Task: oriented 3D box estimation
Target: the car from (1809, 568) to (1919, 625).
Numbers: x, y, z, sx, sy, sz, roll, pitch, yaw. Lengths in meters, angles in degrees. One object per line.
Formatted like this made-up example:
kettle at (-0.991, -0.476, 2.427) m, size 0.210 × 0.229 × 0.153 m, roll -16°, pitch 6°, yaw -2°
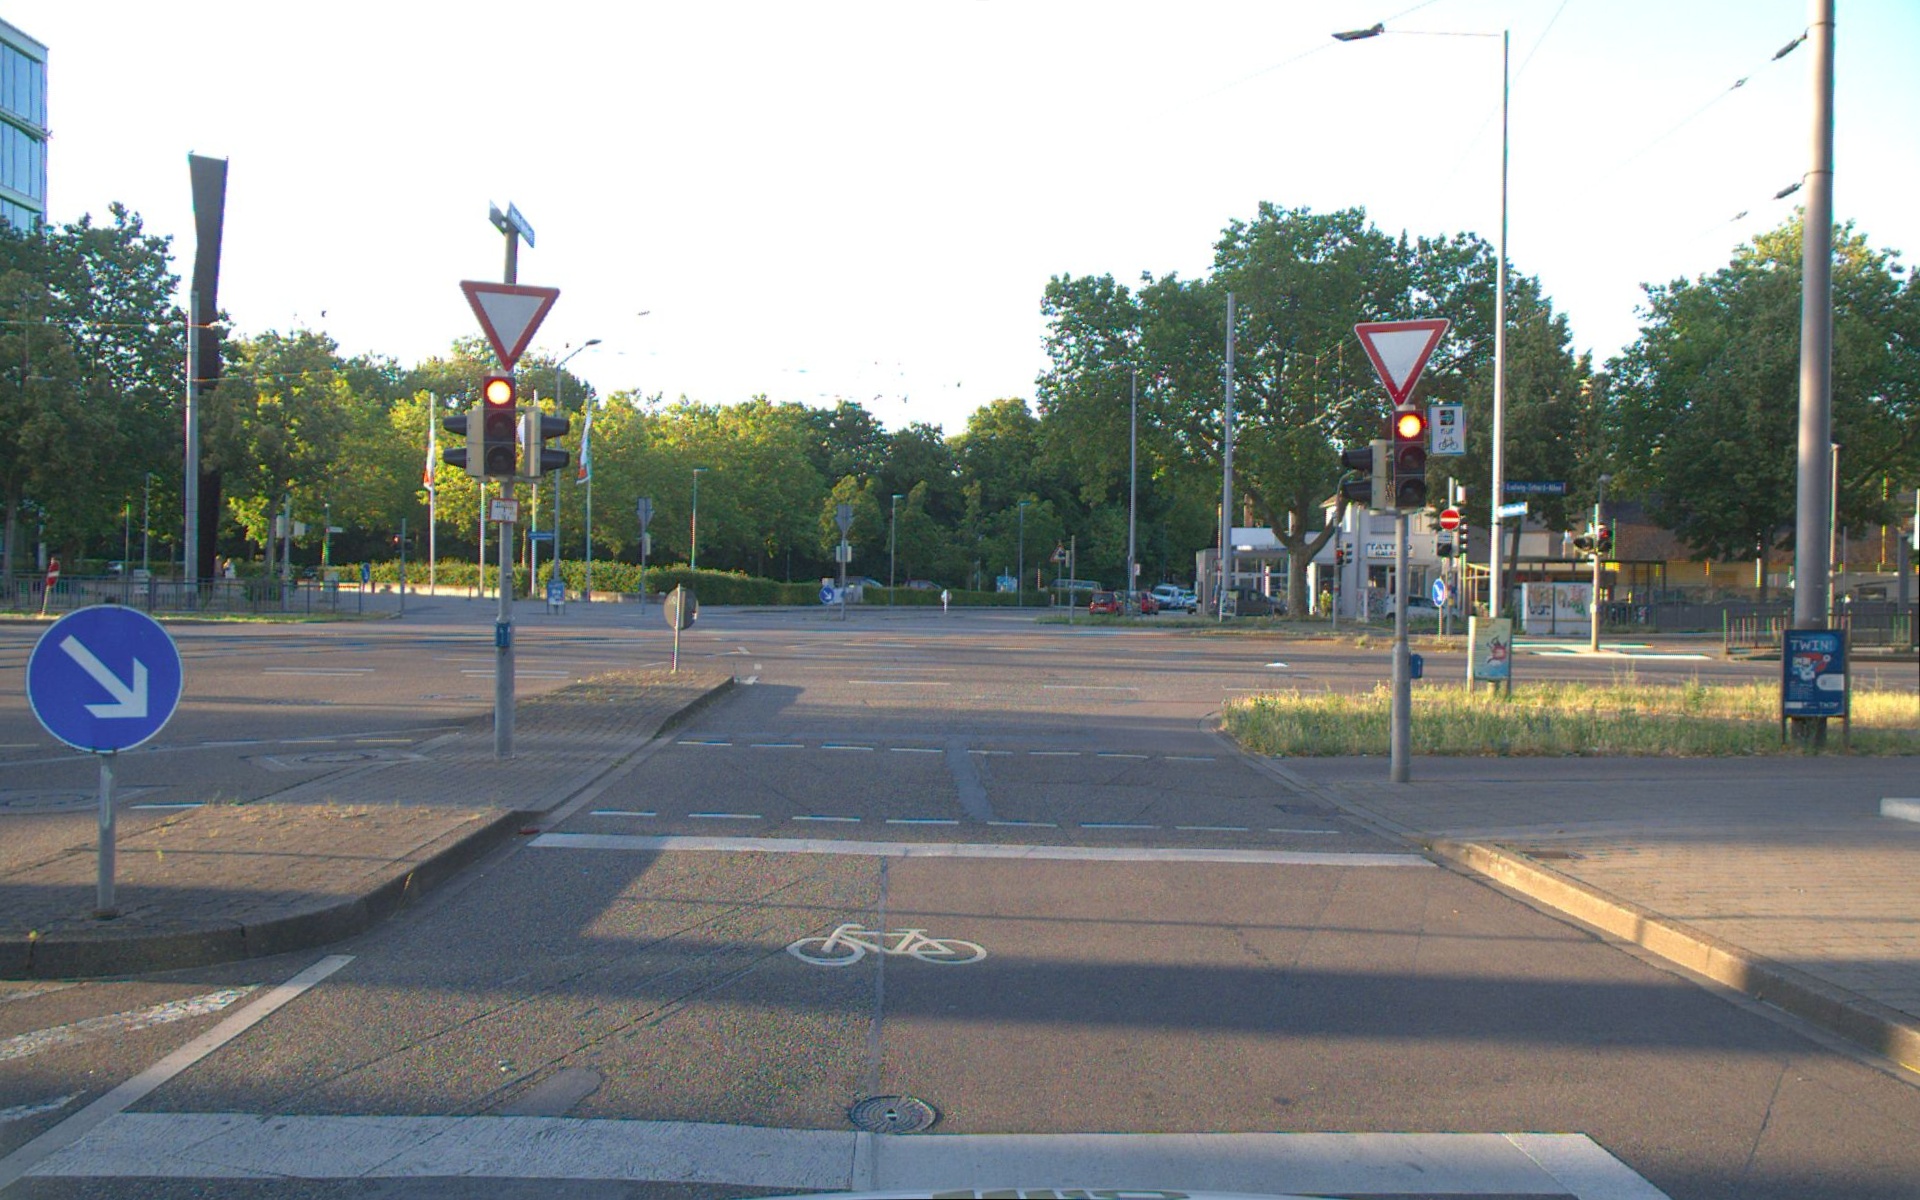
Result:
car at (43.706, -0.163, 78.668) m, size 5.476 × 2.596 × 2.231 m, roll 1°, pitch 0°, yaw 7°

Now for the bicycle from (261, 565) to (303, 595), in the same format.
bicycle at (-31.488, -0.915, 76.776) m, size 2.642 × 1.364 × 0.728 m, roll 1°, pitch 1°, yaw 42°

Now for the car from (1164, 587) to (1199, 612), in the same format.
car at (15.561, -0.050, 115.831) m, size 1.951 × 1.691 × 4.003 m, roll 0°, pitch -1°, yaw 14°

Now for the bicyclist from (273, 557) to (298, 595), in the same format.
bicyclist at (-31.205, -1.106, 76.520) m, size 0.903 × 1.739 × 0.749 m, roll 1°, pitch 0°, yaw 40°

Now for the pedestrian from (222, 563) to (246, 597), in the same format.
pedestrian at (-38.671, -1.073, 88.102) m, size 0.845 × 1.774 × 0.828 m, roll 1°, pitch 0°, yaw 34°

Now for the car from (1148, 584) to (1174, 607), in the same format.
car at (16.005, -0.348, 131.434) m, size 1.823 × 1.825 × 4.003 m, roll 1°, pitch -1°, yaw 10°

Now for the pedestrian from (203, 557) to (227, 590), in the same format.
pedestrian at (-39.391, -1.402, 87.454) m, size 0.844 × 1.774 × 0.829 m, roll 1°, pitch 0°, yaw 28°

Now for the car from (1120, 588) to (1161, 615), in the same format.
car at (11.325, 0.107, 103.539) m, size 1.951 × 1.691 × 4.003 m, roll 0°, pitch -1°, yaw 14°

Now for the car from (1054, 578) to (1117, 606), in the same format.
car at (9.515, -0.575, 126.024) m, size 4.675 × 2.041 × 2.000 m, roll 1°, pitch -1°, yaw 1°

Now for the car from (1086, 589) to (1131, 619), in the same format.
car at (8.627, 0.232, 95.809) m, size 1.951 × 1.691 × 4.003 m, roll 0°, pitch -1°, yaw 14°

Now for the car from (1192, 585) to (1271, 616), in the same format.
car at (14.659, 0.036, 89.385) m, size 4.129 × 1.579 × 2.001 m, roll 1°, pitch -1°, yaw 7°

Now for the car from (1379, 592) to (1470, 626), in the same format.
car at (20.366, 0.395, 72.571) m, size 3.659 × 1.465 × 1.665 m, roll 1°, pitch -1°, yaw 9°

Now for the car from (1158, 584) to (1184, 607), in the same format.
car at (17.414, -0.337, 136.349) m, size 1.823 × 1.825 × 4.003 m, roll 0°, pitch -1°, yaw 12°
